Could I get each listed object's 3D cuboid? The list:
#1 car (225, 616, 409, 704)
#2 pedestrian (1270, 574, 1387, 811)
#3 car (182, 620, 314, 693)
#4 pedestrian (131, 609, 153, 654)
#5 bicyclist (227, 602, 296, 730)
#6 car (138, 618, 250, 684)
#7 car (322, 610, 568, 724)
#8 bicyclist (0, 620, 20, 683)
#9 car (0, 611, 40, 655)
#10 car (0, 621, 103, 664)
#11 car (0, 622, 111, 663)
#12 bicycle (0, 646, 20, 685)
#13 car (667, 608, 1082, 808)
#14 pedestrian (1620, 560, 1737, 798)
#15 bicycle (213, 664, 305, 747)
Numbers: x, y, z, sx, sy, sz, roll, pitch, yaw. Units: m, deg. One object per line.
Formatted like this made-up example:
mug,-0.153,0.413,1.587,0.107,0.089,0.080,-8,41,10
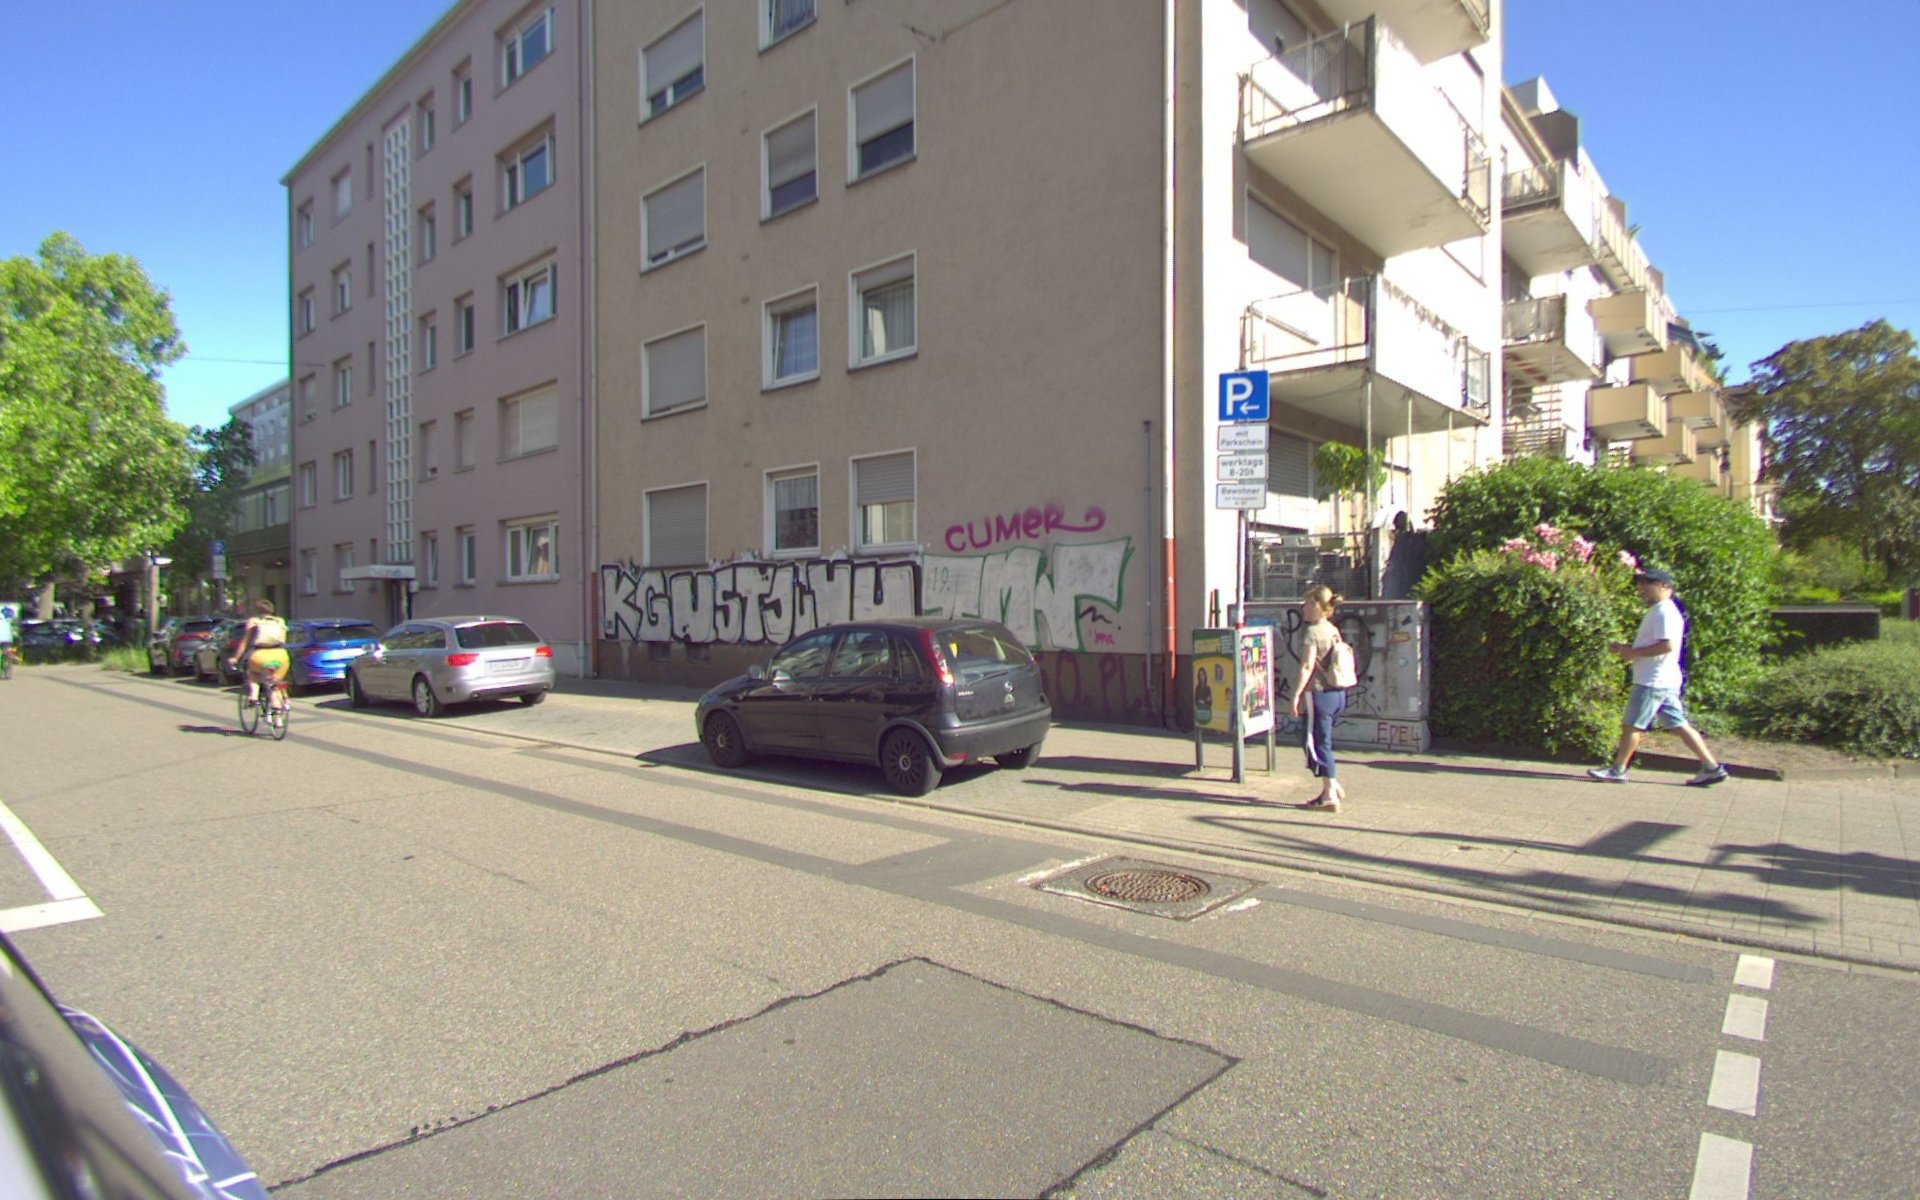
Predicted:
car,-13.241,1.145,20.717,4.798,1.514,1.805,-1,1,40
pedestrian,2.618,0.625,7.202,0.524,1.593,0.564,0,-1,-39
car,-16.935,1.272,23.995,4.157,1.478,1.704,-1,1,43
pedestrian,-33.328,1.286,41.248,0.502,1.820,0.615,-2,-1,42
bicyclist,-8.728,0.801,12.638,0.774,1.532,0.537,-2,-1,42
car,-20.876,1.328,27.514,4.157,1.588,1.704,-1,1,43
car,-8.442,0.988,16.397,4.798,1.514,1.805,-1,1,40
bicyclist,-25.174,1.344,26.512,0.898,1.643,0.672,-2,-3,42
car,-46.368,1.573,48.077,1.913,2.058,3.824,-2,-1,43
car,-35.609,1.619,38.884,1.913,1.564,3.943,-2,-1,44
car,-37.593,1.724,41.620,1.913,1.564,3.943,-2,-1,44
bicycle,-25.218,1.700,26.528,1.933,0.959,0.672,-1,-2,42
car,-0.937,0.870,9.628,3.854,1.459,1.674,-1,1,40
pedestrian,5.421,0.570,7.660,0.668,1.701,0.568,-1,-1,35
bicycle,-8.844,1.301,12.743,1.825,0.909,0.537,-2,-1,42
